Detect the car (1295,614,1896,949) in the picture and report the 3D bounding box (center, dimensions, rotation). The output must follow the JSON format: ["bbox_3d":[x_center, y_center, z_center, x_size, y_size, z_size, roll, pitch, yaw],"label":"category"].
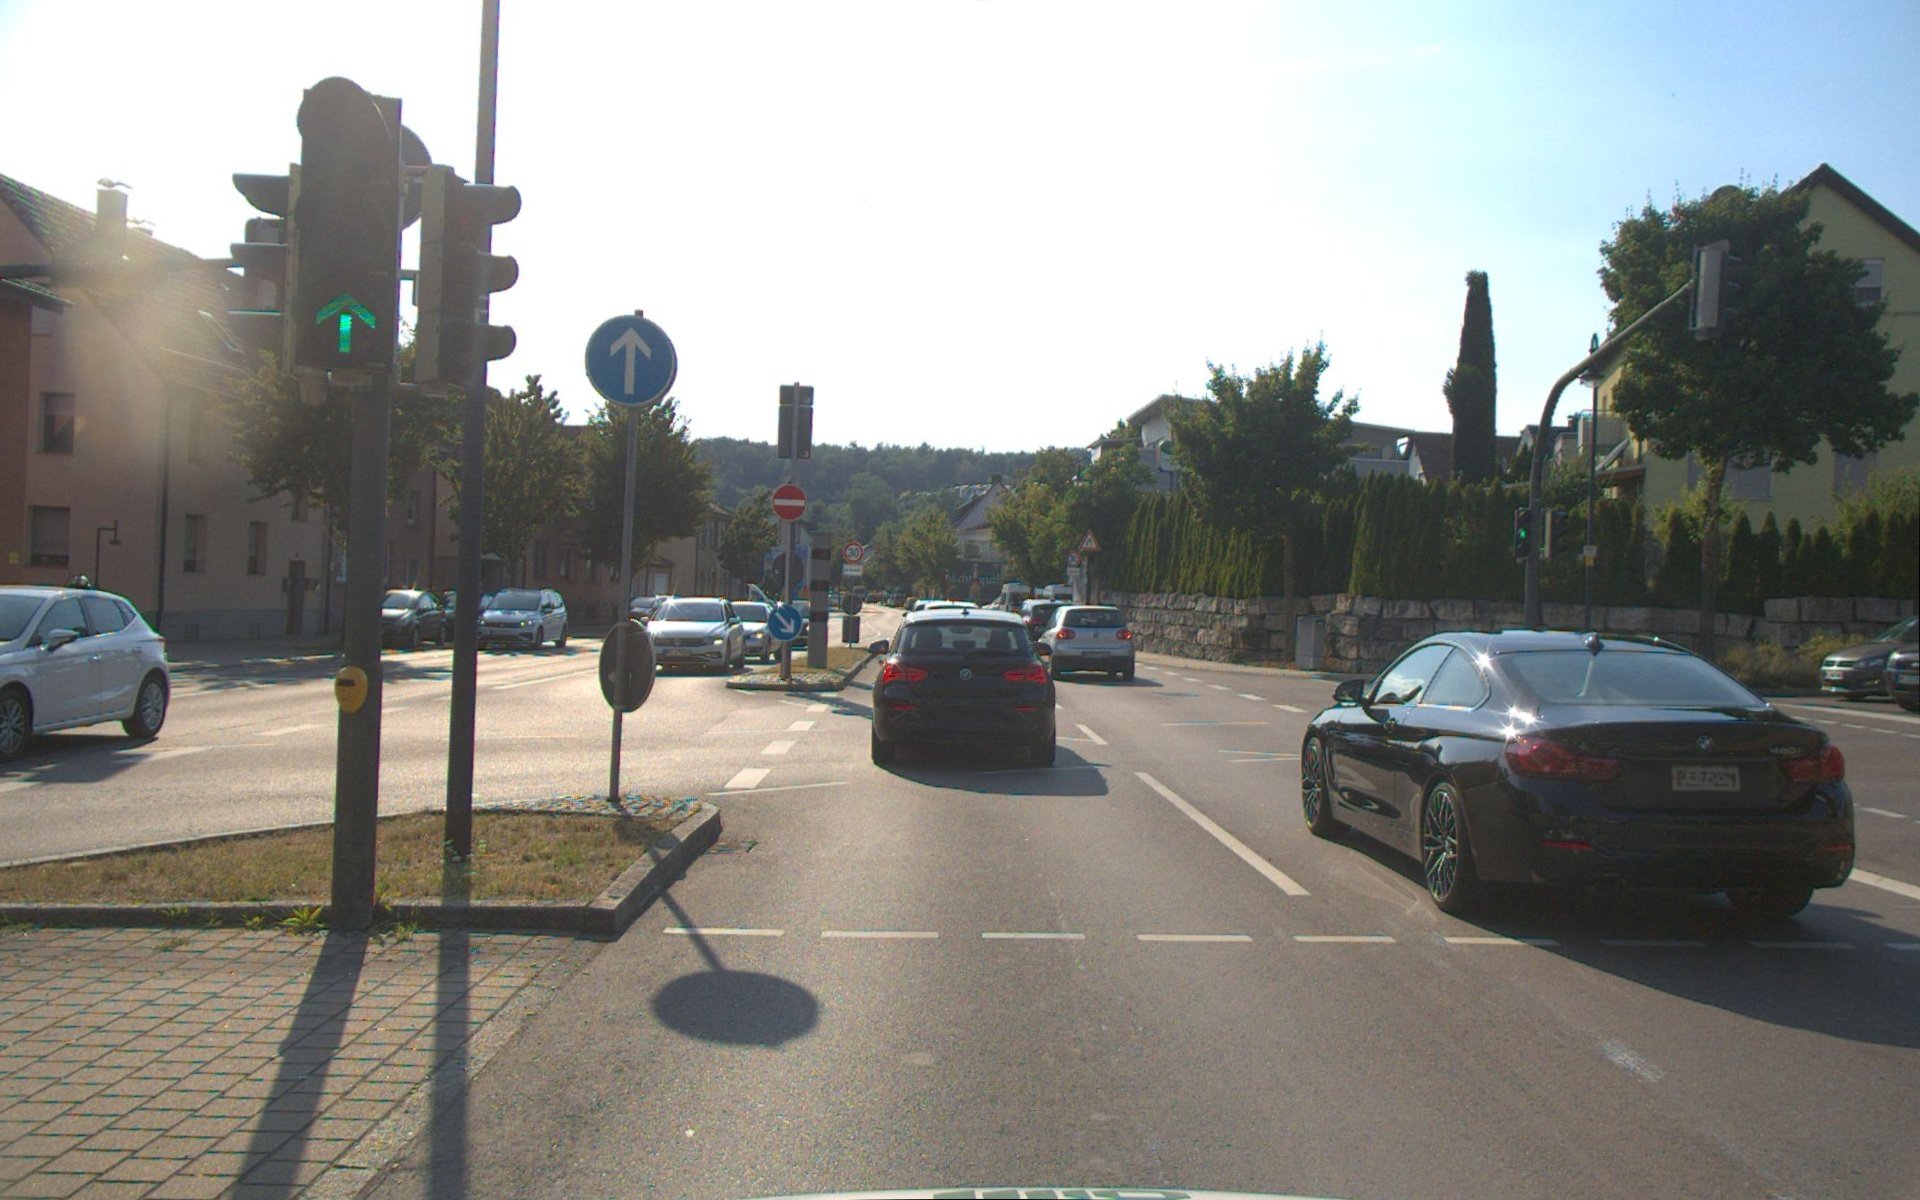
[{"bbox_3d":[3.226,0.817,9.385,1.665,1.393,4.261,0,0,-2],"label":"car"}]

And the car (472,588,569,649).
[{"bbox_3d":[-12.444,0.494,47.095,1.651,1.640,4.412,1,0,-1],"label":"car"}]

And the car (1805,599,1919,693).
[{"bbox_3d":[16.036,0.727,27.154,3.528,1.475,1.625,-1,-1,-5],"label":"car"}]

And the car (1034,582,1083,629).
[{"bbox_3d":[6.012,0.281,101.797,2.070,2.769,6.437,1,0,-5],"label":"car"}]

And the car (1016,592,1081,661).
[{"bbox_3d":[2.417,0.693,45.760,1.570,1.798,3.410,1,0,-1],"label":"car"}]

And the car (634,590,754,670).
[{"bbox_3d":[-5.406,0.561,34.115,1.798,1.514,4.565,1,0,-1],"label":"car"}]

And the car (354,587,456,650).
[{"bbox_3d":[-14.813,0.456,44.353,1.482,1.537,3.884,3,0,-2],"label":"car"}]

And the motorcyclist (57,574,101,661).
[{"bbox_3d":[-12.815,0.252,24.072,0.395,1.250,0.461,1,0,-4],"label":"motorcyclist"}]

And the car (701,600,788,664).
[{"bbox_3d":[-5.144,0.754,39.836,1.556,1.452,3.578,1,0,1],"label":"car"}]

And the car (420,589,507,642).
[{"bbox_3d":[-15.246,0.456,50.998,1.586,1.537,4.131,1,0,-3],"label":"car"}]

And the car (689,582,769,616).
[{"bbox_3d":[-18.242,-0.102,130.763,6.036,2.487,2.248,2,0,-3],"label":"car"}]

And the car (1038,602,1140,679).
[{"bbox_3d":[2.600,0.796,34.021,1.718,1.438,3.420,1,0,-2],"label":"car"}]

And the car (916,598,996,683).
[{"bbox_3d":[-0.125,0.801,34.845,1.559,1.628,3.892,1,0,-2],"label":"car"}]

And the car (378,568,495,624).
[{"bbox_3d":[-19.789,-0.143,62.639,3.743,1.914,1.779,3,0,0],"label":"car"}]

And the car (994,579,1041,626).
[{"bbox_3d":[3.481,0.126,101.267,2.107,2.727,6.597,1,0,-4],"label":"car"}]

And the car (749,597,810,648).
[{"bbox_3d":[-5.634,0.682,51.990,1.501,1.487,3.506,1,0,0],"label":"car"}]

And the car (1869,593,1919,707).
[{"bbox_3d":[15.019,0.700,23.260,3.715,1.569,1.596,0,0,-8],"label":"car"}]

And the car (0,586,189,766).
[{"bbox_3d":[-8.697,0.602,14.890,1.722,1.436,3.999,1,0,-2],"label":"car"}]

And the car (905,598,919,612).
[{"bbox_3d":[-5.708,0.609,197.113,1.565,1.511,3.472,2,0,-4],"label":"car"}]

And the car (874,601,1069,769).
[{"bbox_3d":[0.056,0.760,16.506,1.736,1.482,3.514,0,0,-2],"label":"car"}]
